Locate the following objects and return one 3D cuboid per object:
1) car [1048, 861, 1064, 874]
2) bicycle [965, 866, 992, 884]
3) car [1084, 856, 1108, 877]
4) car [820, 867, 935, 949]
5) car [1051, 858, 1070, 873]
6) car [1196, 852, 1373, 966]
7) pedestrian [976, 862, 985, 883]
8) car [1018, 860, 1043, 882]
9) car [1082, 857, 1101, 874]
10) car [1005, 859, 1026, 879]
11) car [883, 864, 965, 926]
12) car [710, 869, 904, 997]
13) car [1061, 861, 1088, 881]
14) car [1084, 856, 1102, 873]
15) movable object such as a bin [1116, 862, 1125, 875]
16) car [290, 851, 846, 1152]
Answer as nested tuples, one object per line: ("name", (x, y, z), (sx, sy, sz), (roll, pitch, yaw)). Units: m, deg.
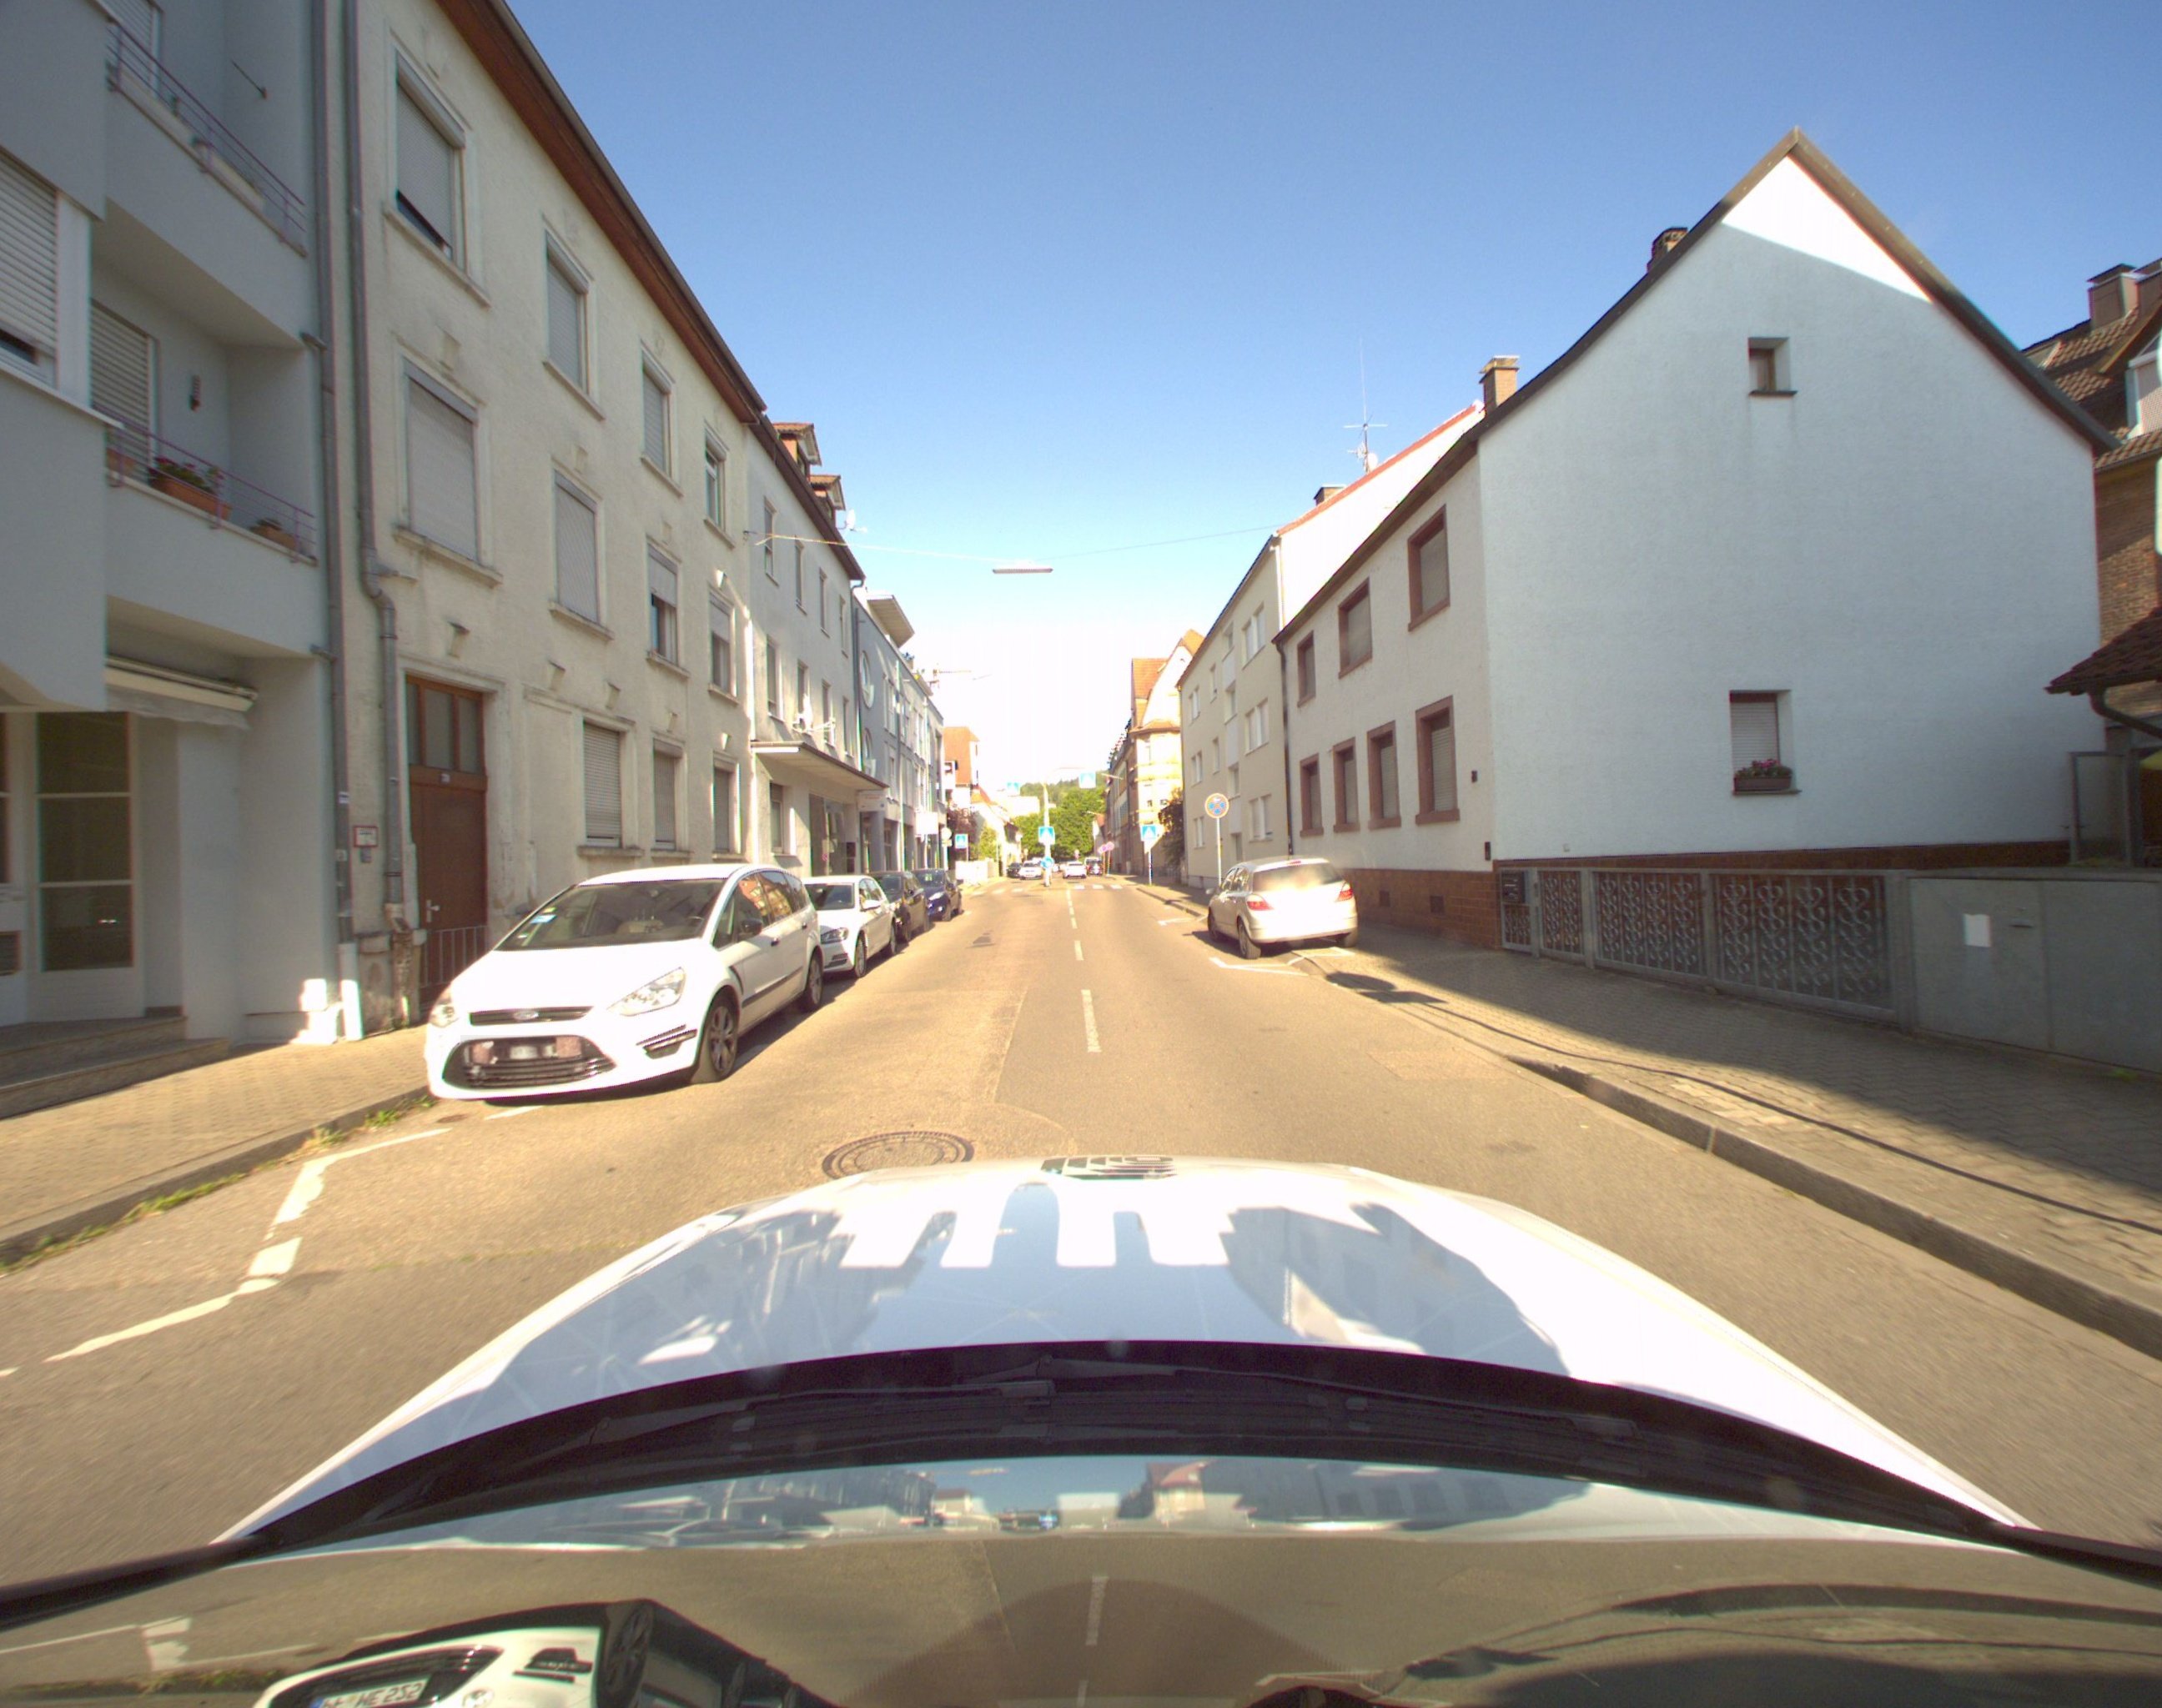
("car", (-4.259, 2.312, 138.265), (1.995, 2.013, 3.983), (-2, 0, -13))
("bicycle", (-7.273, 1.518, 57.964), (1.781, 1.184, 0.598), (-3, -1, -2))
("car", (1.454, 1.189, 78.320), (2.006, 1.853, 3.996), (-1, 0, -3))
("car", (-4.368, 1.089, 18.000), (1.656, 1.526, 3.805), (-2, 0, -2))
("car", (-2.872, 1.660, 115.253), (1.995, 2.013, 3.984), (-3, -1, -11))
("car", (3.201, 0.798, 13.761), (1.736, 1.492, 4.436), (-4, 0, -1))
("pedestrian", (-7.233, 1.290, 58.375), (0.556, 1.472, 0.600), (-3, -1, -5))
("car", (-4.311, 1.449, 69.132), (1.805, 1.701, 4.183), (-4, -2, -6))
("car", (1.214, 1.321, 94.734), (1.837, 1.905, 3.996), (-4, 0, -3))
("car", (-6.727, 1.519, 83.365), (1.989, 2.013, 3.995), (-2, 0, -4))
("car", (-4.468, 1.125, 23.669), (1.727, 1.499, 3.955), (-3, 0, -3))
("car", (-4.053, 1.071, 12.815), (1.761, 1.495, 4.121), (-5, 0, -3))
("car", (-0.578, 1.374, 67.232), (1.990, 1.466, 3.994), (-3, -1, -4))
("car", (1.354, 1.127, 89.818), (1.812, 1.630, 4.001), (-4, 0, 1))
("movable object such as a bin", (4.315, 1.616, 89.364), (0.870, 1.377, 0.683), (-4, 0, -6))
("car", (-3.703, 0.857, 7.335), (1.990, 1.648, 5.213), (-2, 0, -5))
